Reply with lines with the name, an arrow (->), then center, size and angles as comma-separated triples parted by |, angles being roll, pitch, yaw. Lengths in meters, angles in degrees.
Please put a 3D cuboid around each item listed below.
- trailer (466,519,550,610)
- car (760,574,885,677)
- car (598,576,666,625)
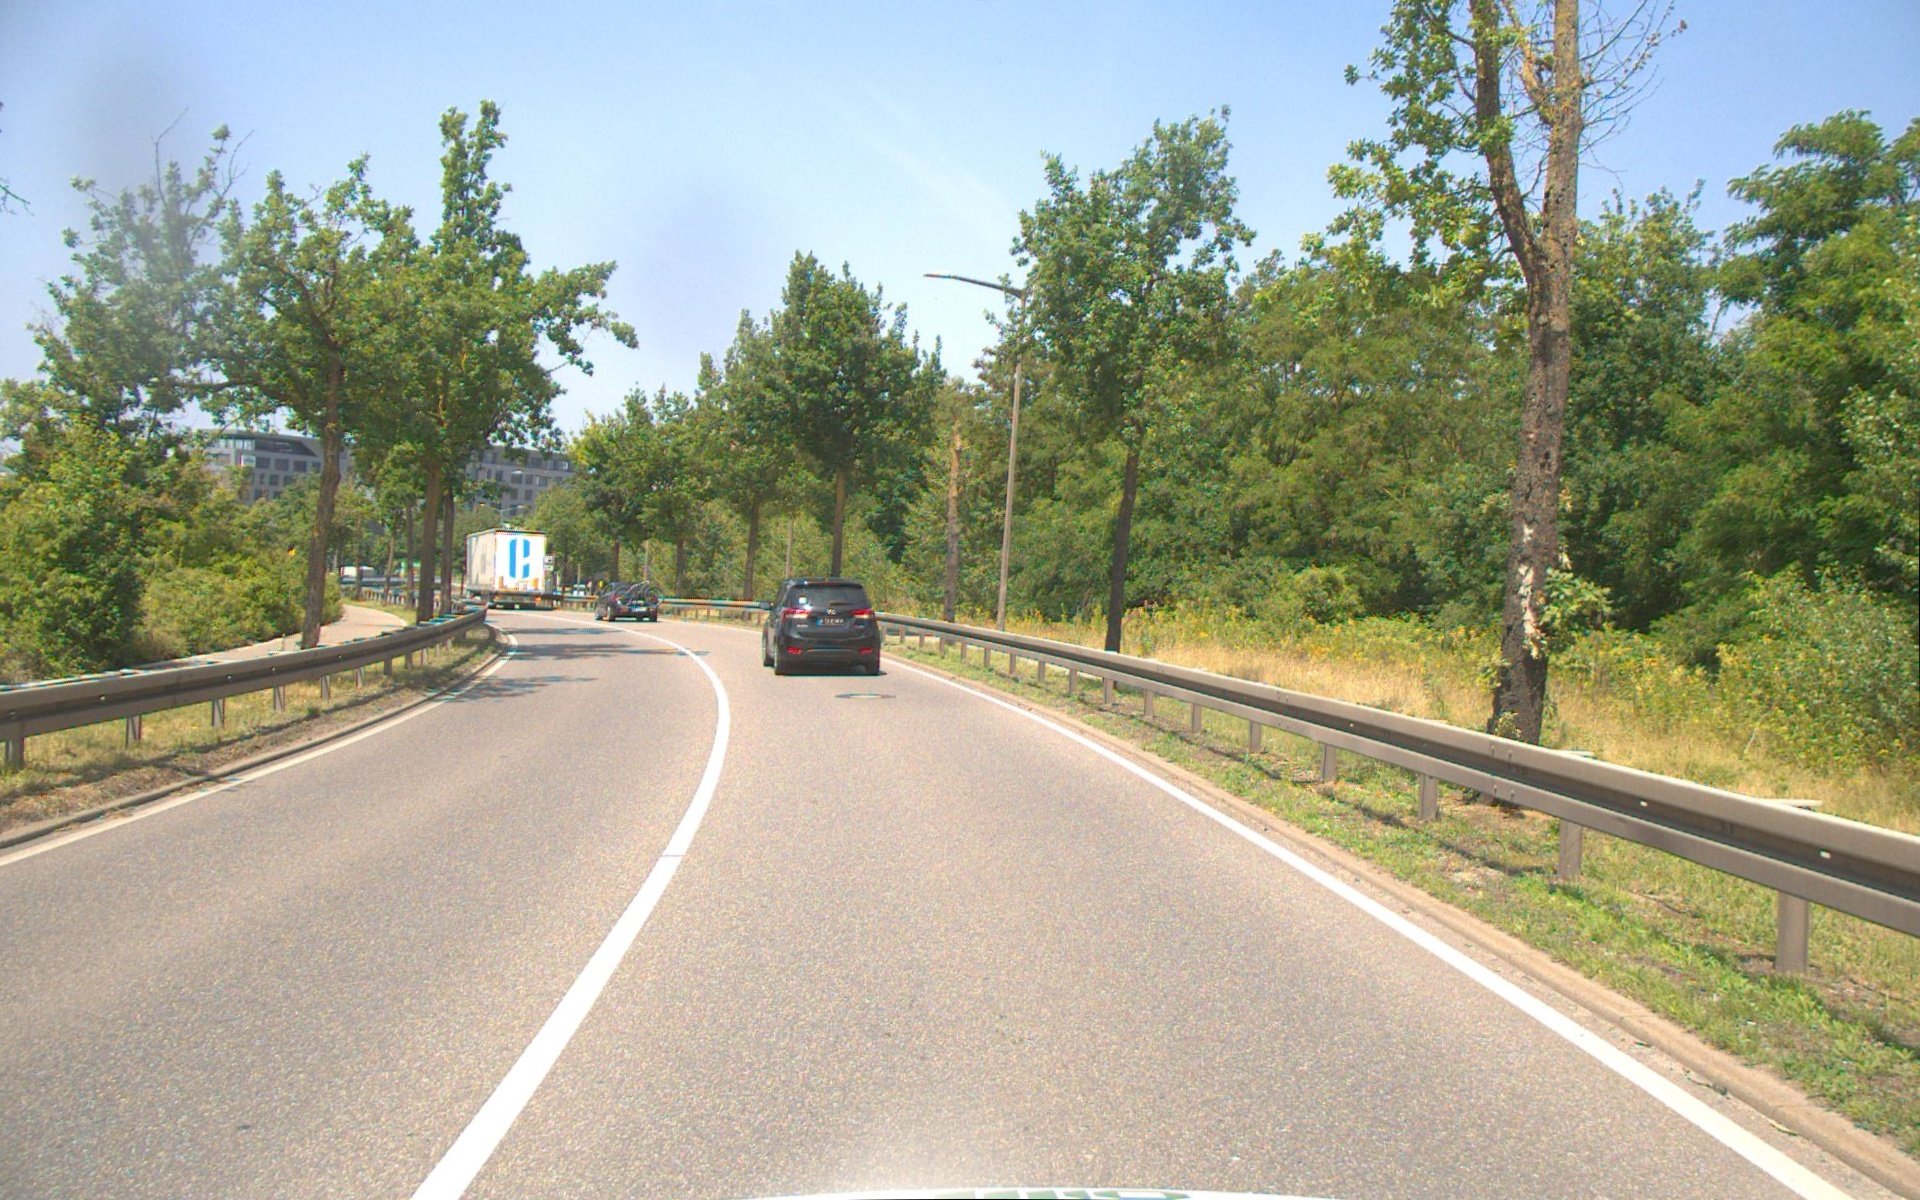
trailer -> -24.779, -2.018, 90.066 | 3.033, 4.444, 14.689 | 2, 1, -20
car -> -2.439, 0.397, 28.504 | 1.735, 1.627, 4.067 | 1, 0, -10
car -> -11.875, 0.017, 59.694 | 1.926, 1.662, 4.258 | 2, 0, -18
